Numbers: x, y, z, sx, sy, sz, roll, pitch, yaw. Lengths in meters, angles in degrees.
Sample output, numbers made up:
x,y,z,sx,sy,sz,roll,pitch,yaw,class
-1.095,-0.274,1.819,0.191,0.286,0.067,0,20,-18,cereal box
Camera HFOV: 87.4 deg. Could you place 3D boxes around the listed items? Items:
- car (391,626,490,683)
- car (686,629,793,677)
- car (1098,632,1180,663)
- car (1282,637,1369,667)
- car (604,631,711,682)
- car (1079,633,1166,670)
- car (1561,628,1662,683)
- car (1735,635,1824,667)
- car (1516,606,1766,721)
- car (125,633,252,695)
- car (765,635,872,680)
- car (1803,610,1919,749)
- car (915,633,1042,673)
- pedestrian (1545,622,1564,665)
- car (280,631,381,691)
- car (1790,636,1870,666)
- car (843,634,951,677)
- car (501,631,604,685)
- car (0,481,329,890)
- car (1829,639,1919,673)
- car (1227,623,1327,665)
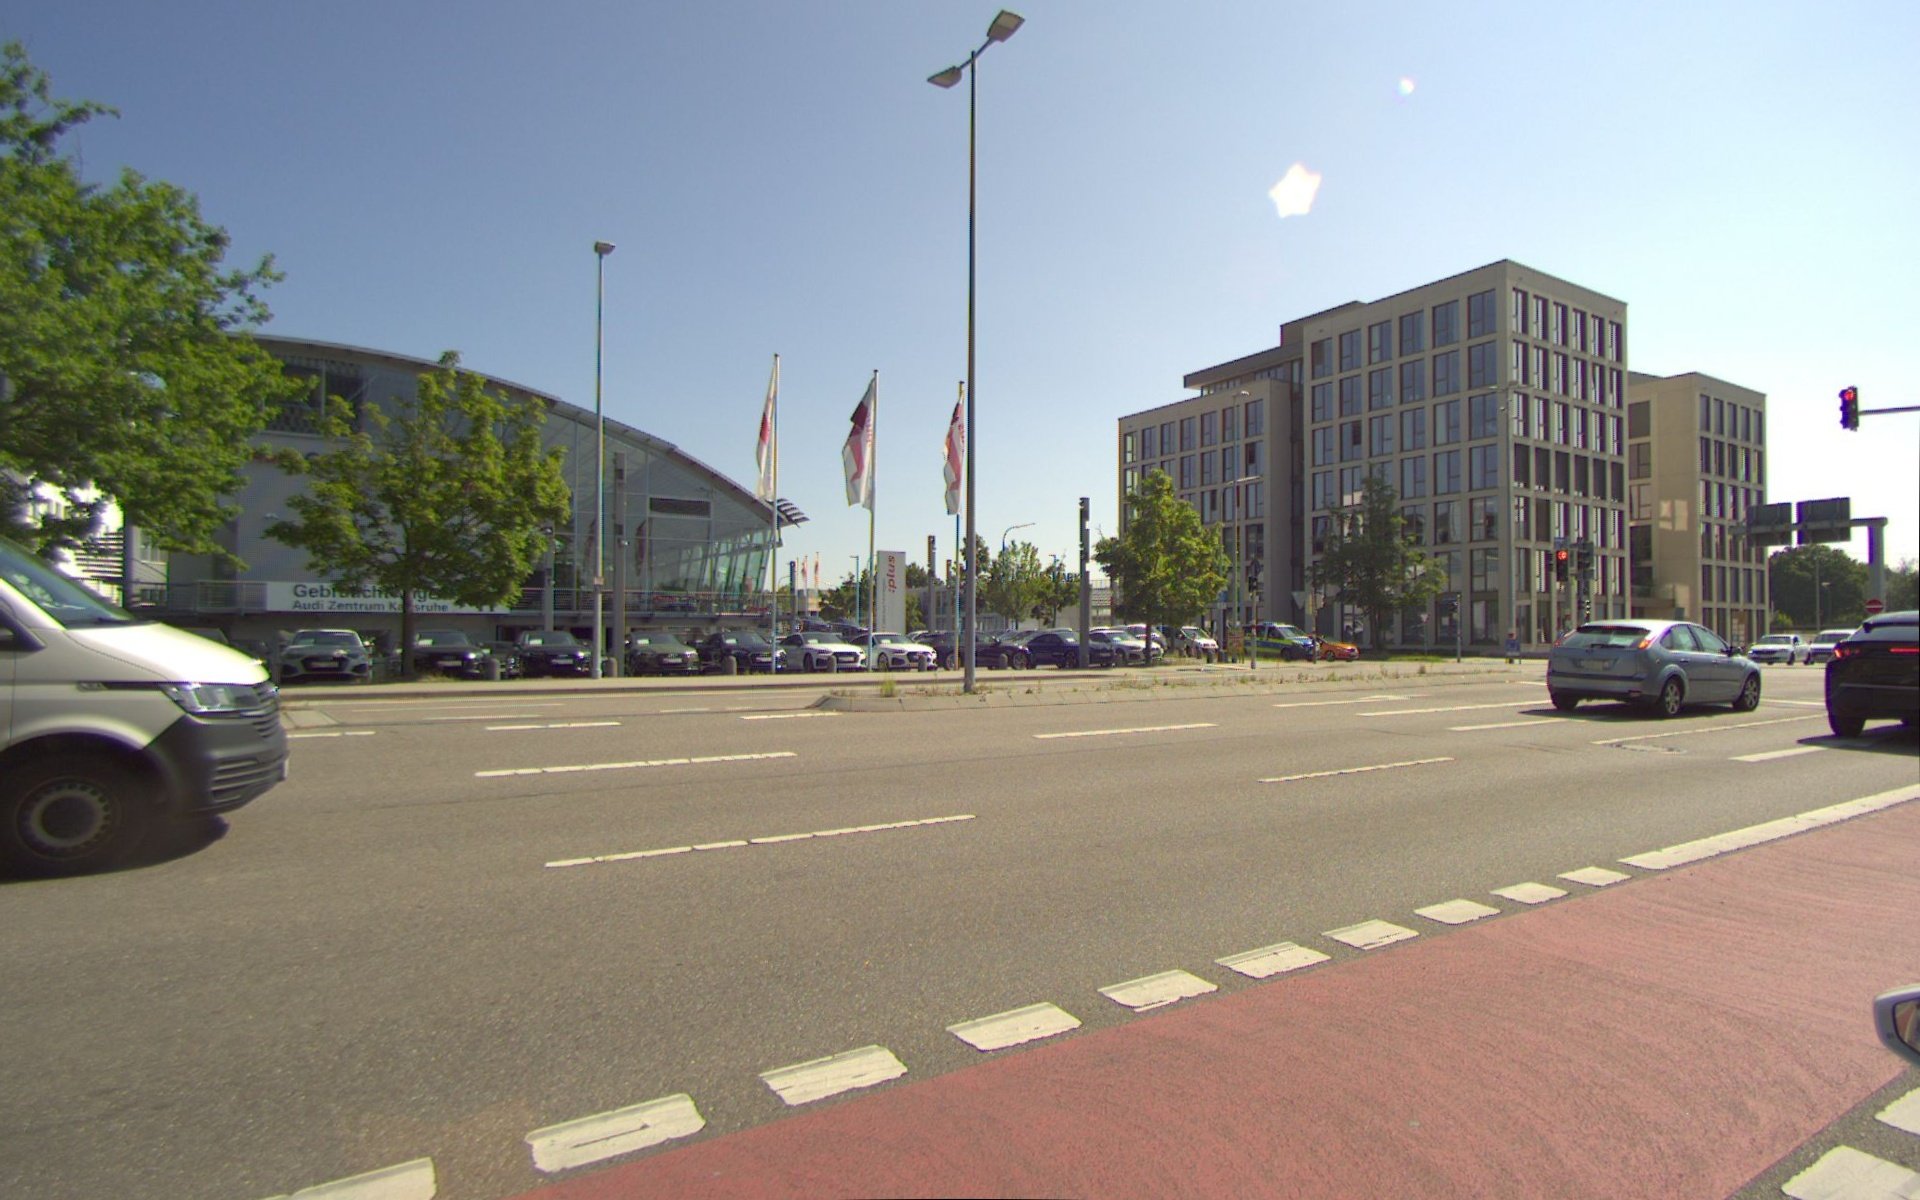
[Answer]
x,y,z,sx,sy,sz,roll,pitch,yaw,class
-13.717,1.400,26.422,1.978,1.361,3.965,1,-2,-32,car
-6.800,1.583,30.729,1.978,1.361,3.965,1,-2,-32,car
8.100,2.115,45.407,3.381,1.361,1.697,1,-2,-29,car
19.310,2.725,53.215,1.976,1.483,3.969,1,-2,-30,car
-8.944,1.617,29.495,1.979,1.361,3.964,1,-2,-33,car
6.282,1.987,39.201,1.625,1.361,3.398,1,-2,-29,car
17.630,1.470,27.170,2.767,1.349,1.209,0,1,-31,car
39.243,2.423,48.075,3.949,1.483,1.885,1,-3,-28,car
11.352,1.004,16.706,3.955,1.706,1.984,1,-2,-31,car
-18.035,1.456,23.672,1.978,1.328,3.965,1,-2,-32,car
-4.591,1.799,32.168,1.978,1.361,3.965,1,-2,-32,car
13.297,0.991,13.299,4.404,1.661,1.800,1,-2,-29,car
0.706,1.900,36.617,4.385,1.361,1.697,1,-2,-29,car
29.347,2.136,49.588,0.745,2.041,0.931,1,1,33,pedestrian
-15.741,1.473,25.173,1.978,1.361,4.128,1,-2,-32,car
45.160,2.617,52.112,3.949,1.483,1.809,1,-3,-28,car
-2.181,1.824,33.758,1.978,1.361,3.965,1,-2,-32,car
-11.371,1.566,27.887,1.978,1.361,3.965,1,-2,-32,car
-6.185,0.433,5.160,4.919,2.020,1.872,1,-2,-32,car
41.849,2.540,45.986,3.949,1.483,1.809,1,-3,-28,car
16.279,2.249,51.870,1.976,2.077,4.892,1,-2,-30,car
